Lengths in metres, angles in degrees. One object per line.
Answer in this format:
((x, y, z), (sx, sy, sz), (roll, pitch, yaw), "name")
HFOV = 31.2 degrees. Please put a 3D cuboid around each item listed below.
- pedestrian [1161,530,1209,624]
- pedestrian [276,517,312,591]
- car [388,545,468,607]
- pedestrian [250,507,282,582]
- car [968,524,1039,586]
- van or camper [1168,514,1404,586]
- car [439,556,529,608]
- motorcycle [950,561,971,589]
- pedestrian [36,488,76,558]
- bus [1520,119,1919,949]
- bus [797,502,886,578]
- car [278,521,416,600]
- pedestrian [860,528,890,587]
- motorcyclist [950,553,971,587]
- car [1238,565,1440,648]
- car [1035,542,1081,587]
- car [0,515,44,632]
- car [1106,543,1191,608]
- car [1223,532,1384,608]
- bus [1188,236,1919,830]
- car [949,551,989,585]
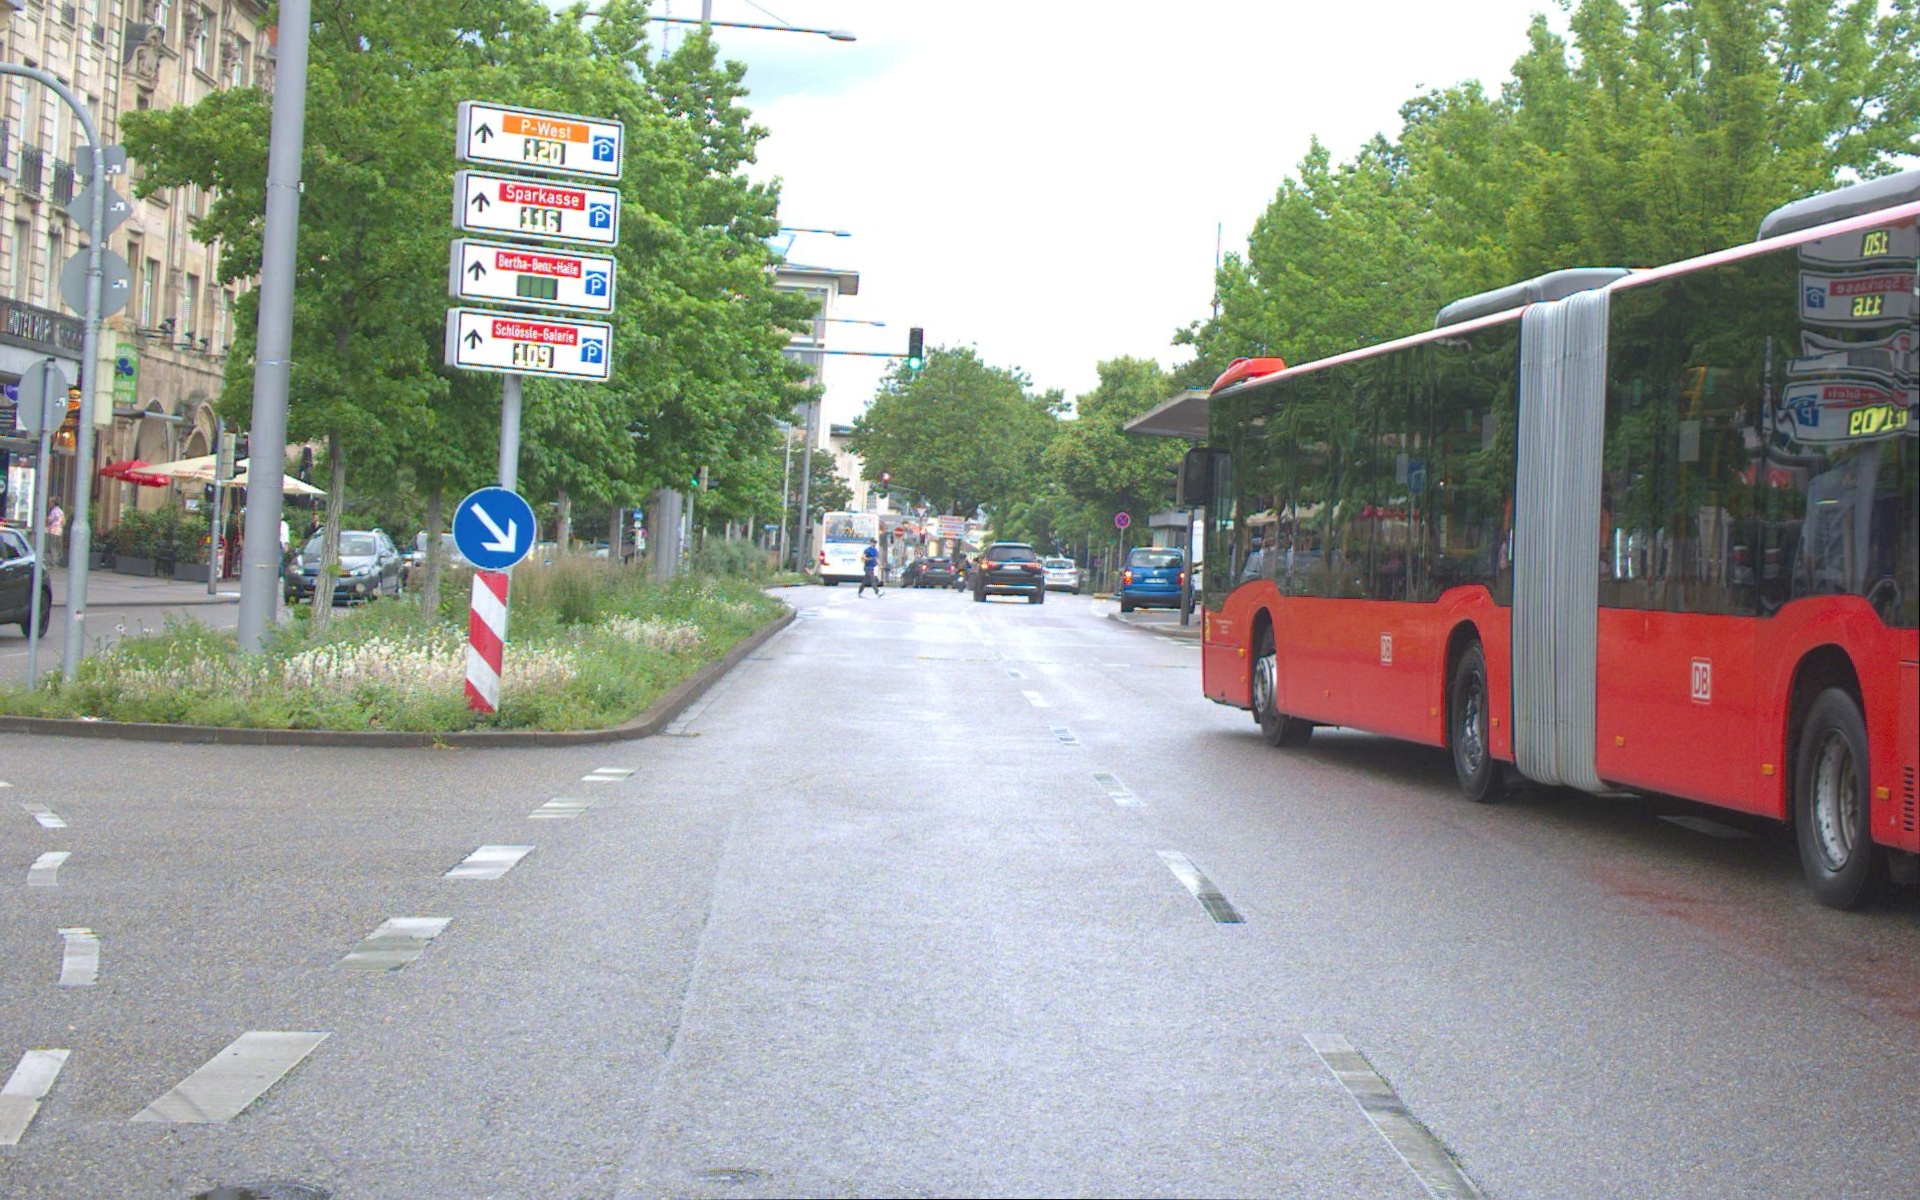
((4.359, -0.453, 66.557), (0.717, 1.785, 0.666), (1, 1, -12), "pedestrian")
((-15.495, -1.080, 79.967), (0.674, 1.696, 0.634), (2, 1, -1), "pedestrian")
((-12.362, -0.579, 79.920), (1.754, 1.364, 4.061), (1, 1, -9), "car")
((-16.135, -1.287, 79.905), (0.575, 1.726, 0.609), (2, 1, -1), "pedestrian")
((1.294, -1.386, 103.792), (1.993, 1.800, 4.690), (1, 1, -1), "car")
((9.773, -1.491, 102.908), (6.753, 2.007, 2.385), (1, 0, -26), "van or camper")
((-13.086, -0.512, 94.660), (1.755, 1.364, 4.060), (2, 1, 2), "car")
((0.019, -0.996, 134.643), (0.766, 1.073, 2.175), (2, 1, 0), "motorcycle")
((-19.624, -1.665, 74.595), (0.661, 1.505, 0.519), (1, 1, -38), "pedestrian")
((4.861, -0.264, 14.847), (2.742, 3.163, 8.122), (1, 1, -6), "bus")
((-5.301, -2.710, 155.907), (3.760, 3.198, 15.527), (1, 1, -1), "bus")
((-11.713, -0.763, 65.909), (1.755, 1.436, 4.060), (2, 1, 2), "car")
((-2.468, -1.253, 100.282), (0.758, 1.695, 0.559), (2, 1, 6), "pedestrian")
((0.023, -1.170, 134.744), (0.764, 1.327, 0.866), (2, 1, 0), "motorcyclist")
((9.064, 0.156, 82.274), (4.335, 1.851, 2.001), (1, 1, -20), "car")
((4.200, -1.546, 148.108), (1.788, 1.853, 4.000), (1, 1, -1), "car")
((-12.938, -0.311, 43.509), (1.630, 1.471, 4.027), (-2, 1, -1), "car")
((4.661, -0.620, 85.393), (1.816, 1.525, 4.000), (1, 1, -1), "car")
((9.655, -0.852, 96.642), (3.986, 2.007, 2.001), (1, 1, -20), "car")
((3.861, -0.436, 23.674), (2.742, 3.163, 10.197), (1, 1, -6), "bus")
((0.393, -1.404, 152.025), (1.708, 1.443, 4.000), (1, 1, -1), "car")
